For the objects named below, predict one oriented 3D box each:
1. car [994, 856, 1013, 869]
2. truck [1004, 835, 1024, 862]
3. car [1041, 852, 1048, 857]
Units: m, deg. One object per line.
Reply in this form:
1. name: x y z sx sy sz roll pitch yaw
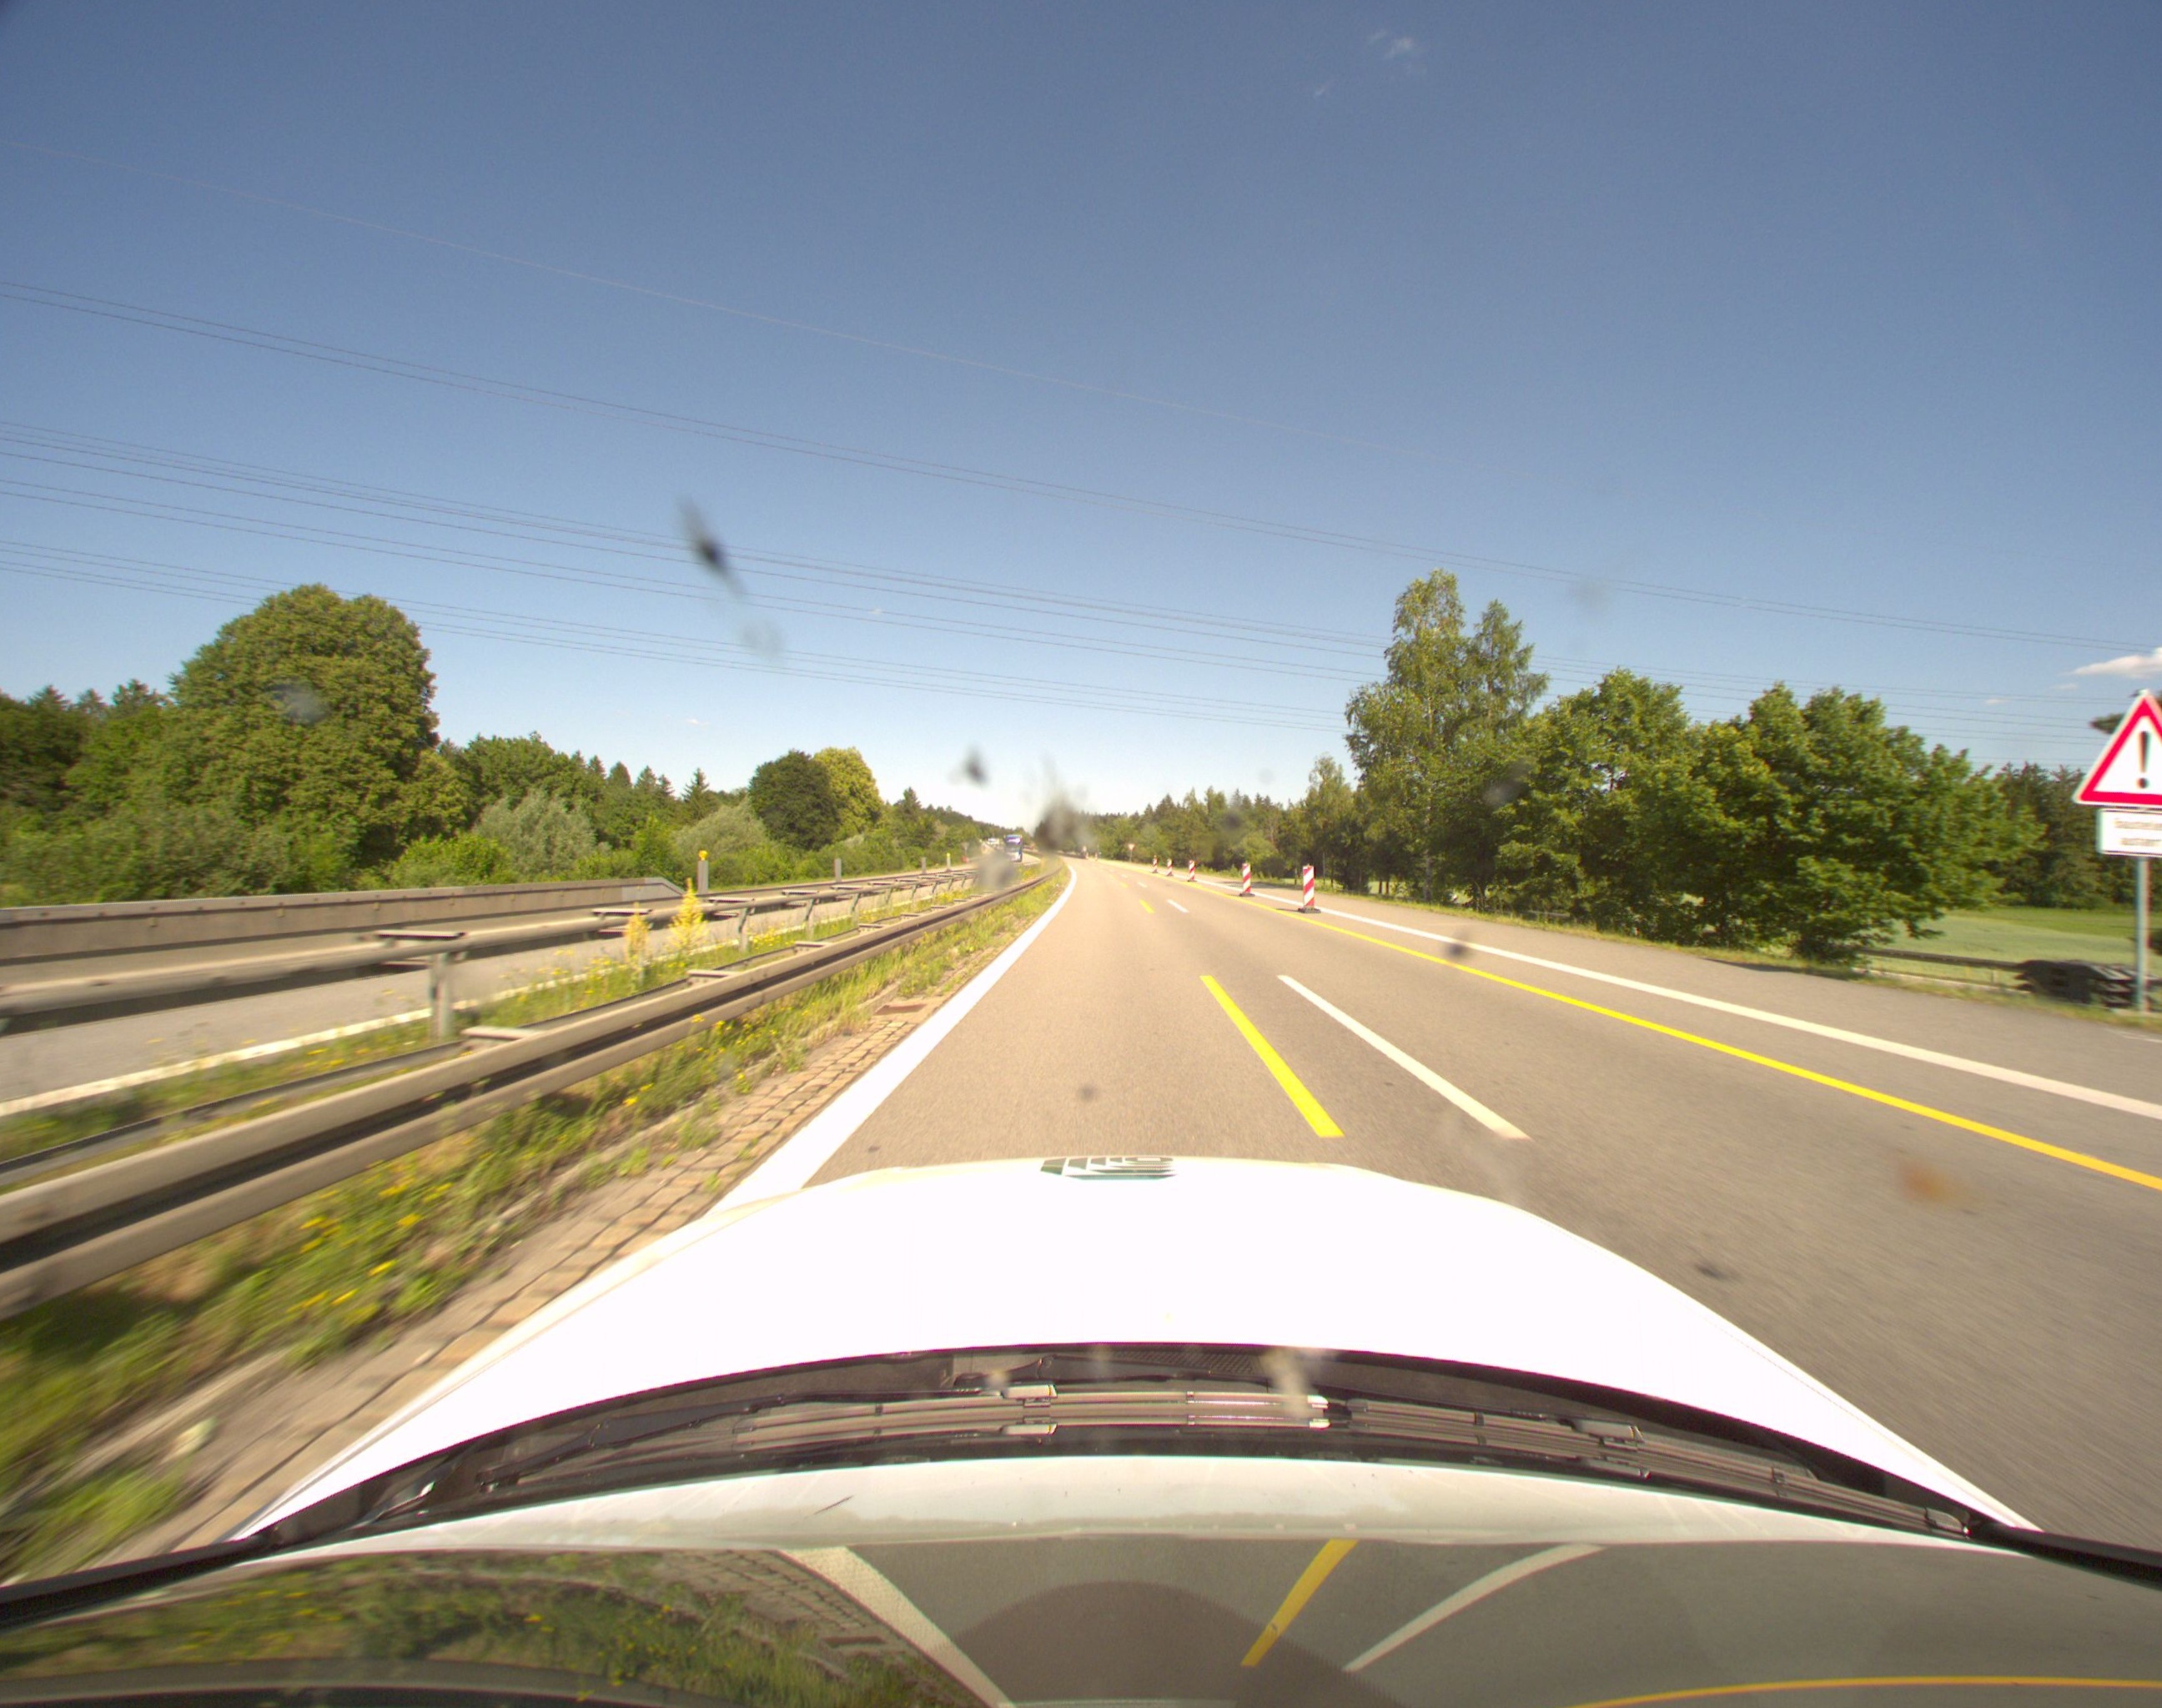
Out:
1. car: -9.015 0.946 94.894 1.772 1.429 4.267 -1 0 0
2. truck: -10.014 -0.839 122.659 2.625 3.959 5.839 0 0 -1
3. car: -11.747 0.209 261.729 1.742 1.466 4.283 2 0 -8
